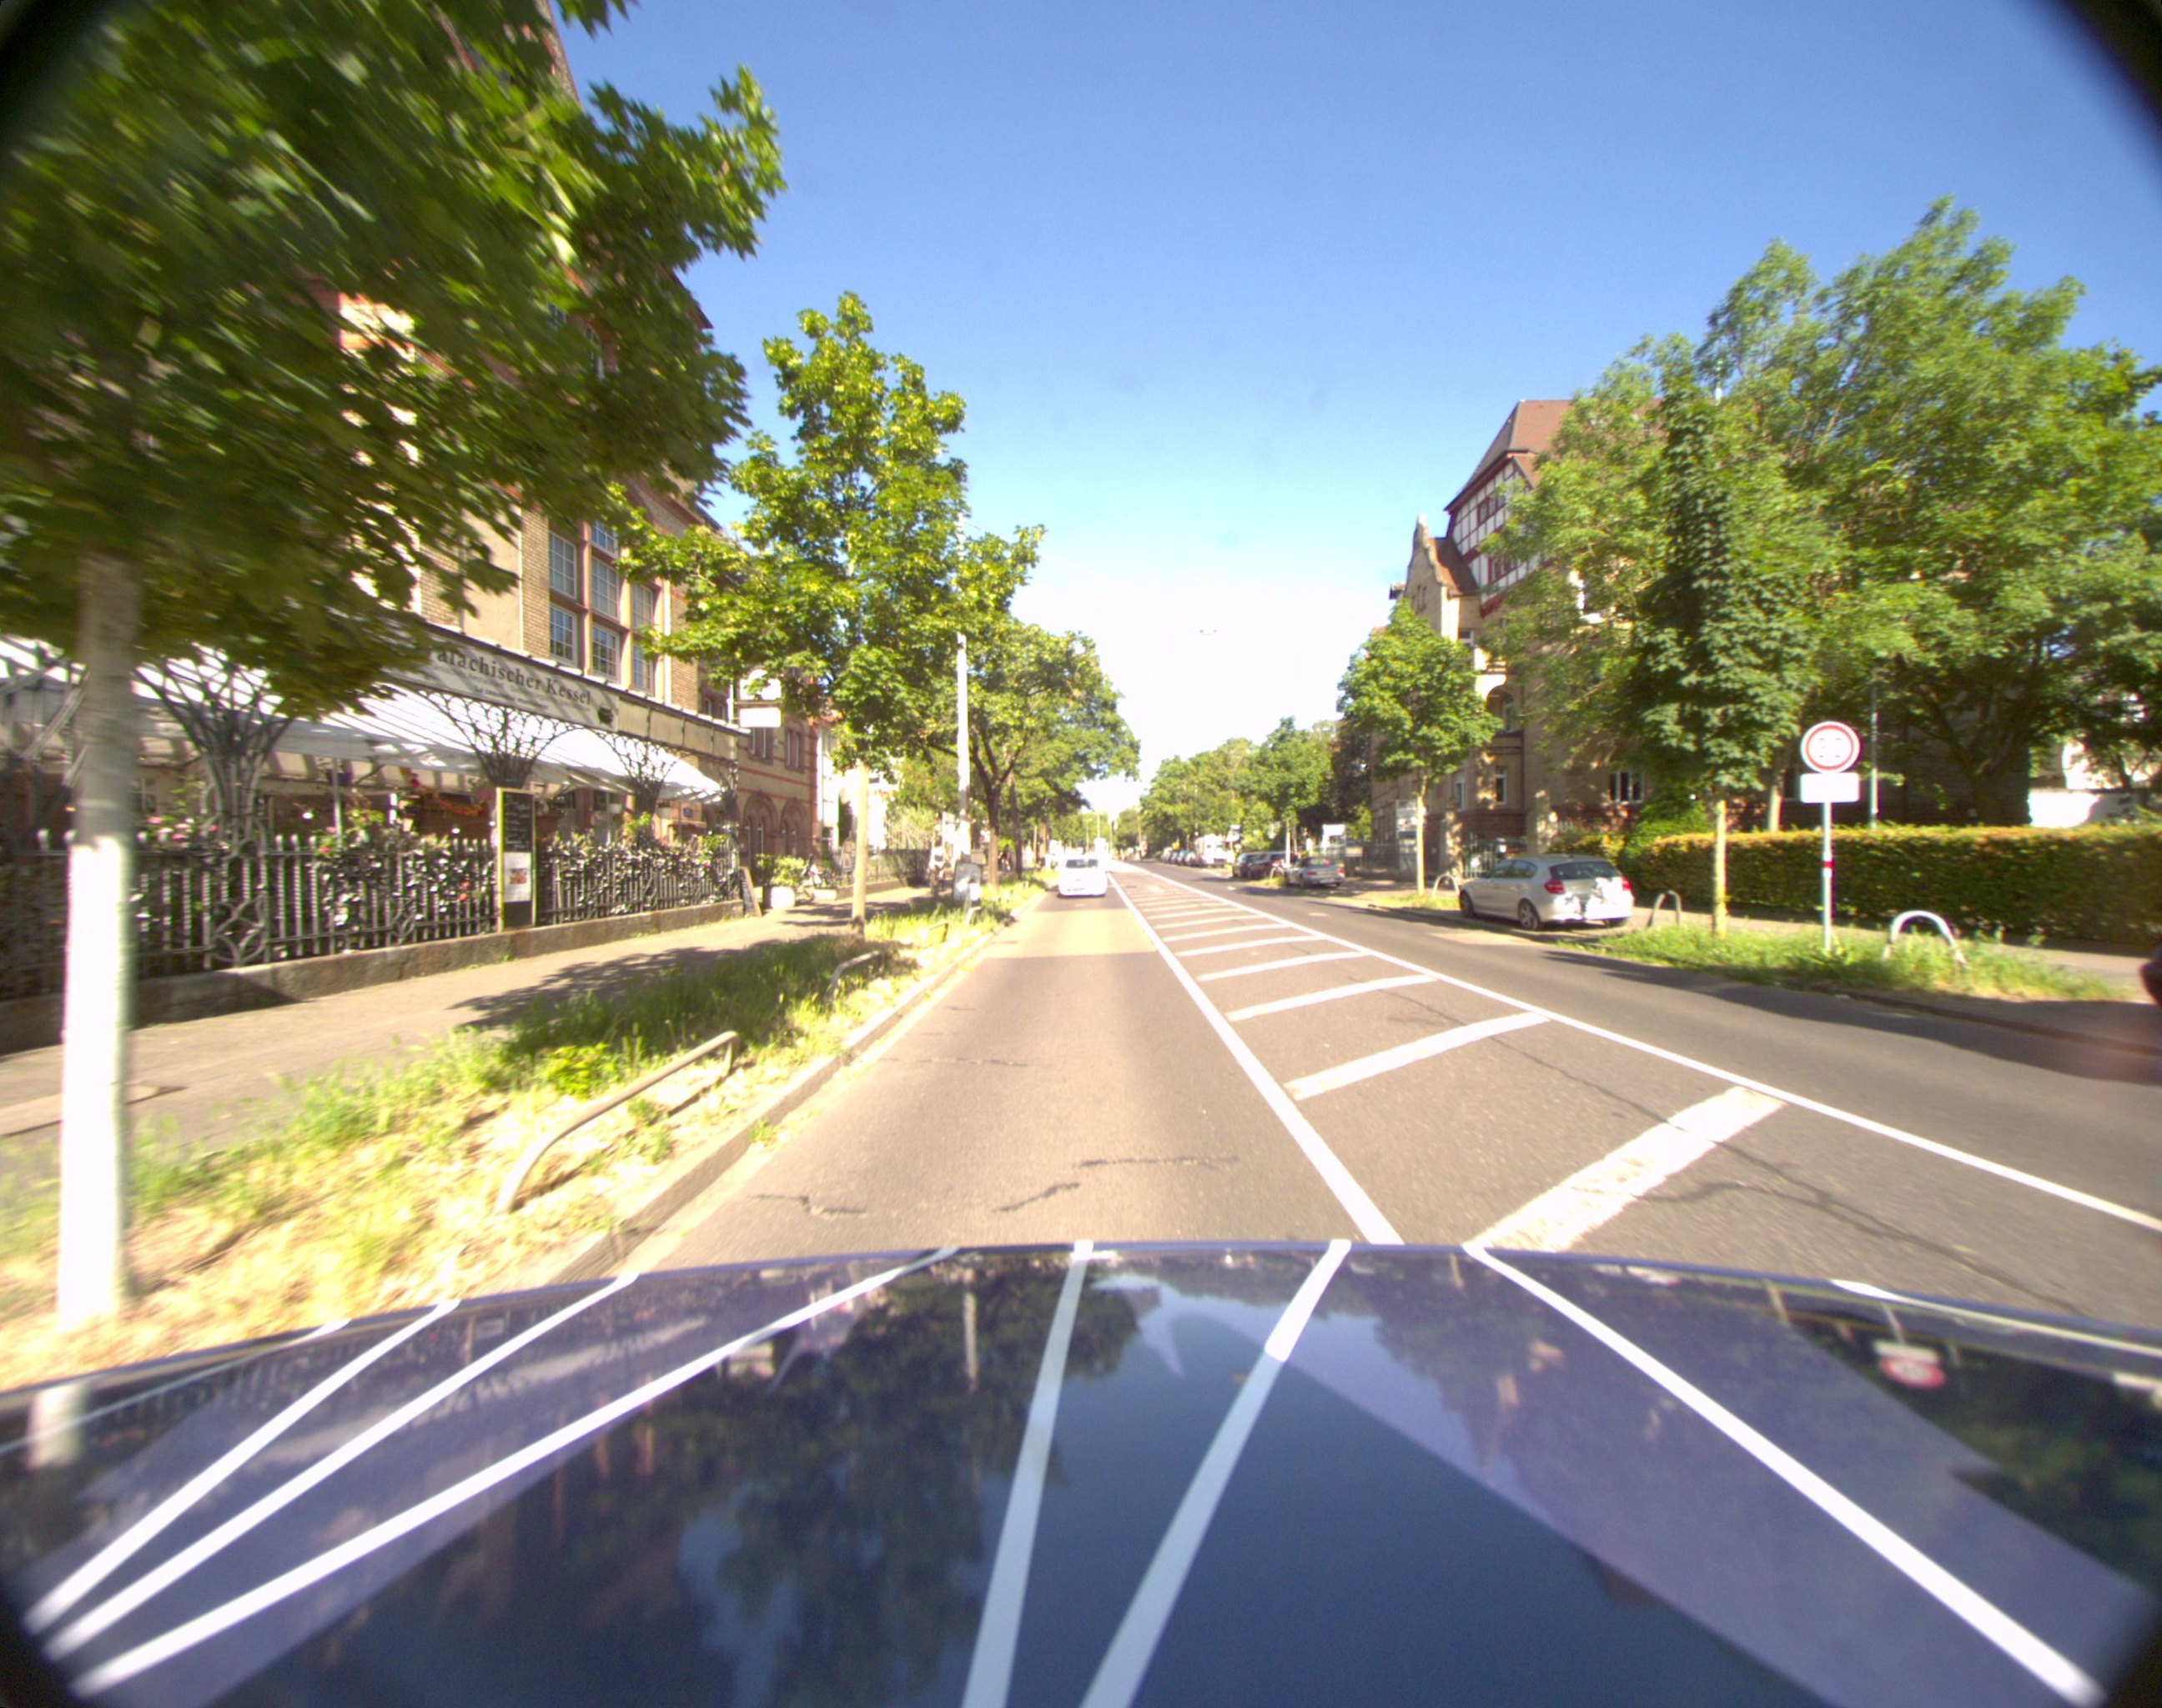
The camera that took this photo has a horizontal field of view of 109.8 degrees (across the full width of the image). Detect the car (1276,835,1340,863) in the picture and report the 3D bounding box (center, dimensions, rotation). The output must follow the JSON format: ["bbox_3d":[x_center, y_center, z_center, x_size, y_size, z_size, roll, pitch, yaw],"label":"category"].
[{"bbox_3d":[16.208,-0.376,54.226,4.150,1.660,1.996,-4,0,-32],"label":"car"}]

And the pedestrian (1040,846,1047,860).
[{"bbox_3d":[-4.541,-0.096,91.324,0.696,1.649,0.820,2,2,0],"label":"pedestrian"}]

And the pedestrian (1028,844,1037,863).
[{"bbox_3d":[-4.679,-0.014,72.938,0.749,1.777,0.811,2,1,1],"label":"pedestrian"}]

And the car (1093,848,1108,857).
[{"bbox_3d":[3.193,-0.209,125.667,1.924,1.411,4.223,-1,1,-4],"label":"car"}]

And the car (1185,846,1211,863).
[{"bbox_3d":[10.945,0.021,71.304,1.698,1.448,4.662,1,1,-1],"label":"car"}]

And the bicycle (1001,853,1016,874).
[{"bbox_3d":[-4.368,0.565,45.766,0.654,1.170,1.843,2,0,1],"label":"bicycle"}]

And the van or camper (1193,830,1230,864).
[{"bbox_3d":[11.238,-0.613,65.719,2.222,2.723,6.088,-1,1,1],"label":"van or camper"}]

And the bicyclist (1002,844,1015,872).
[{"bbox_3d":[-4.355,0.238,45.778,0.647,1.685,0.889,2,1,1],"label":"bicyclist"}]

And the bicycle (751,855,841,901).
[{"bbox_3d":[-7.927,0.659,21.211,2.202,1.172,0.687,-1,2,-5],"label":"bicycle"}]

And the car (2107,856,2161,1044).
[{"bbox_3d":[9.221,0.750,4.185,1.716,1.450,4.072,-2,1,2],"label":"car"}]

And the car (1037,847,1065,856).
[{"bbox_3d":[-4.936,-0.368,124.043,4.417,1.409,2.047,0,1,2],"label":"car"}]

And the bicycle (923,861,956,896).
[{"bbox_3d":[-4.675,0.797,25.229,0.687,1.022,2.095,-1,2,0],"label":"bicycle"}]

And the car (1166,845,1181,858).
[{"bbox_3d":[11.446,-0.363,94.097,1.467,1.493,3.958,0,1,1],"label":"car"}]

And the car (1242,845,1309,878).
[{"bbox_3d":[9.909,0.347,39.065,1.861,1.485,4.703,-4,1,-4],"label":"car"}]

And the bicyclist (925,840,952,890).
[{"bbox_3d":[-4.685,0.349,25.038,0.702,1.590,0.955,-1,2,0],"label":"bicyclist"}]

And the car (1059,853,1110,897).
[{"bbox_3d":[0.184,0.731,27.877,1.652,1.449,3.897,-1,1,3],"label":"car"}]

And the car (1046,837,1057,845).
[{"bbox_3d":[-5.238,-2.310,134.688,1.847,1.432,4.104,2,0,-3],"label":"car"}]

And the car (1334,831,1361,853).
[{"bbox_3d":[24.384,-1.116,69.388,1.860,1.903,4.458,1,3,25],"label":"car"}]

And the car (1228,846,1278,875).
[{"bbox_3d":[10.077,0.337,44.815,1.860,1.419,4.719,-5,1,2],"label":"car"}]

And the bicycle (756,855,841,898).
[{"bbox_3d":[-8.312,0.648,22.422,2.202,1.172,0.687,-1,2,-5],"label":"bicycle"}]

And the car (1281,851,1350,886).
[{"bbox_3d":[9.587,0.557,31.385,1.682,1.248,4.014,-2,1,1],"label":"car"}]

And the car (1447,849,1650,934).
[{"bbox_3d":[9.251,0.655,15.488,1.692,1.375,4.191,-3,1,3],"label":"car"}]
